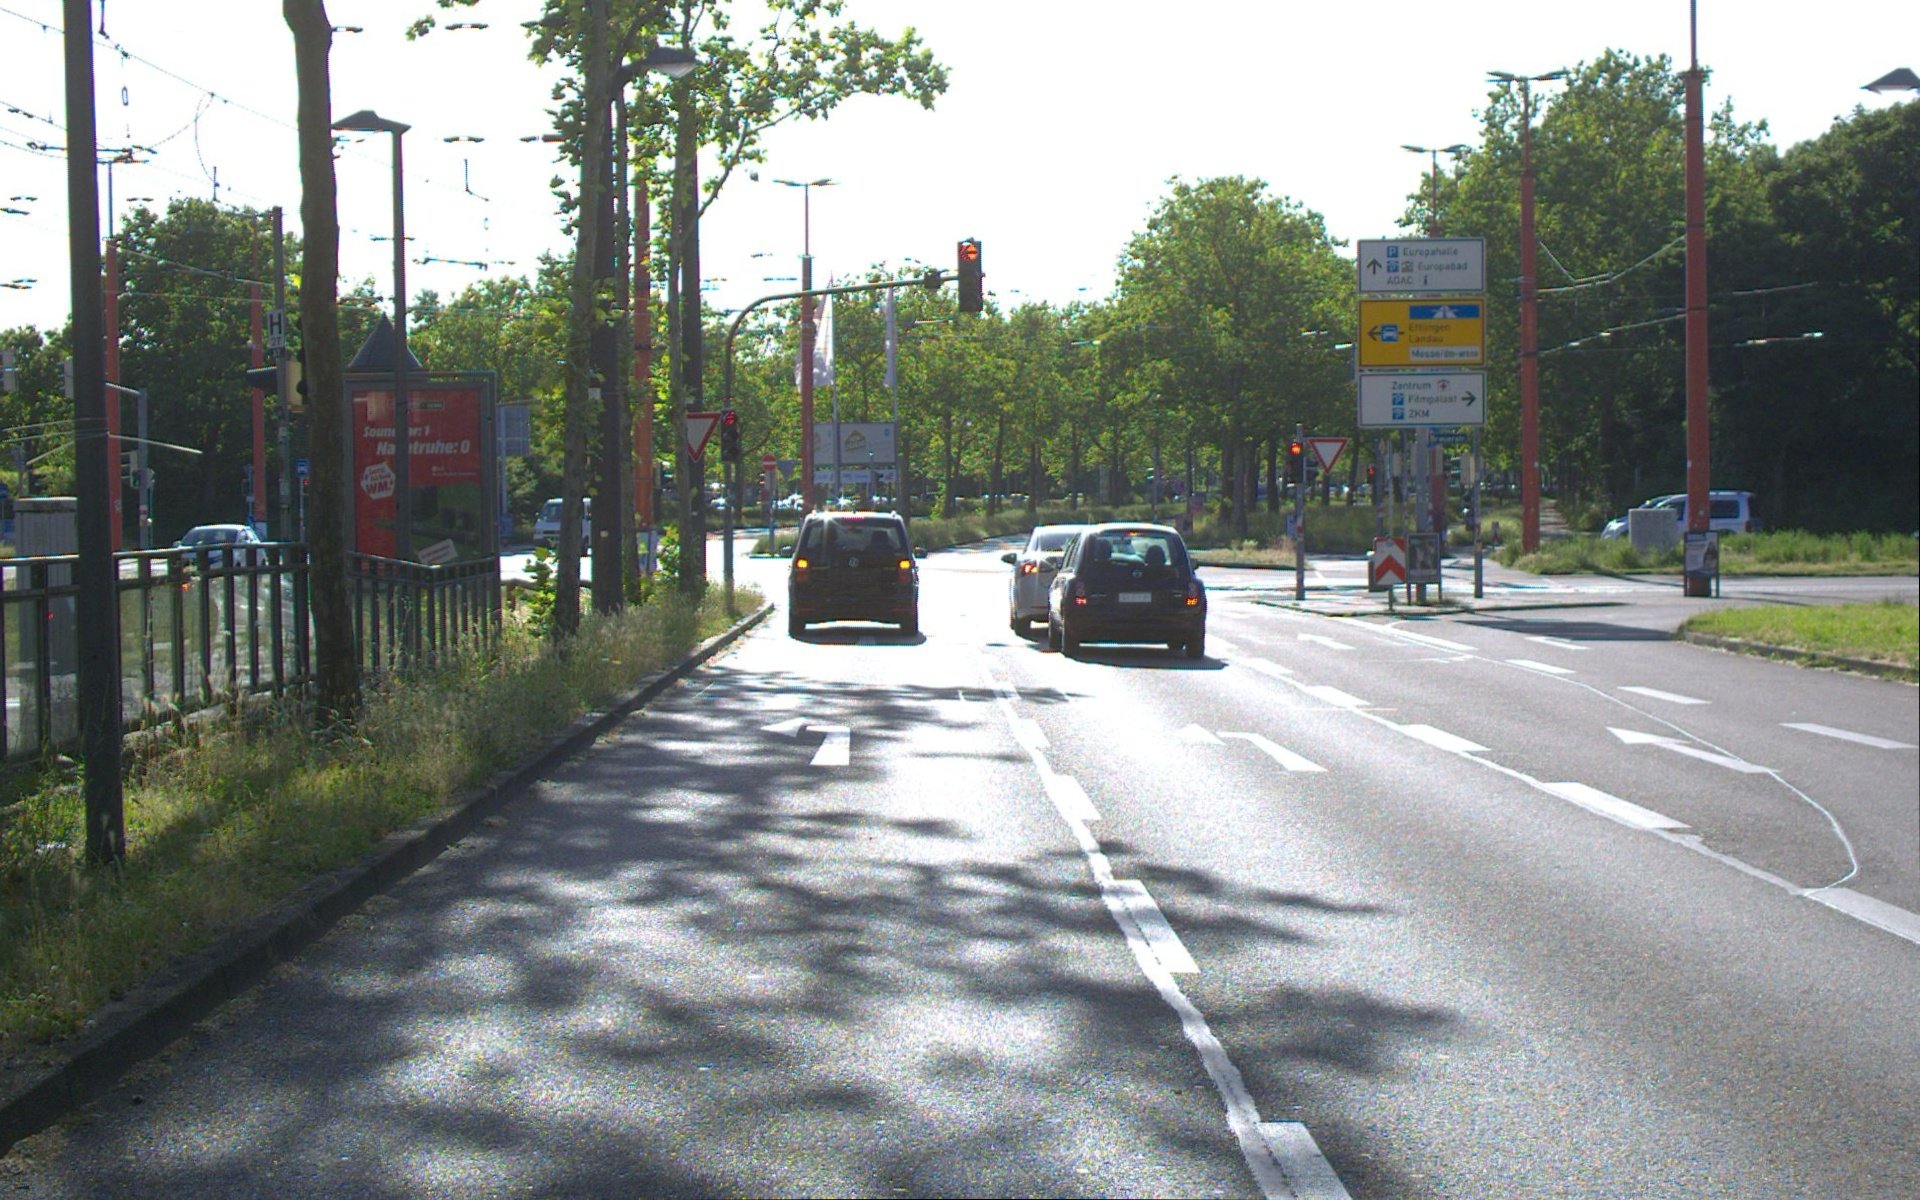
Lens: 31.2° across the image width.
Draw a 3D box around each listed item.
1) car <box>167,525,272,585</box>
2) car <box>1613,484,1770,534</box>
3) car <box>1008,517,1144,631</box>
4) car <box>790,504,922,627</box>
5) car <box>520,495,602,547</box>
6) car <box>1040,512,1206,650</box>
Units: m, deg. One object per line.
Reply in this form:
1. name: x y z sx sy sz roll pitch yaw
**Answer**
1. car: -18.420 -1.124 85.612 1.631 1.444 3.718 1 1 3
2. car: 20.435 -2.545 96.101 3.992 1.333 1.727 1 1 25
3. car: 1.548 -0.375 46.974 1.678 1.470 4.131 1 1 0
4. car: -1.423 -0.483 46.431 1.710 1.598 3.350 0 1 -2
5. car: -14.120 -2.803 122.012 1.823 1.774 4.566 1 1 7
6. car: 1.874 -0.253 40.414 1.638 1.489 3.504 1 2 -2
